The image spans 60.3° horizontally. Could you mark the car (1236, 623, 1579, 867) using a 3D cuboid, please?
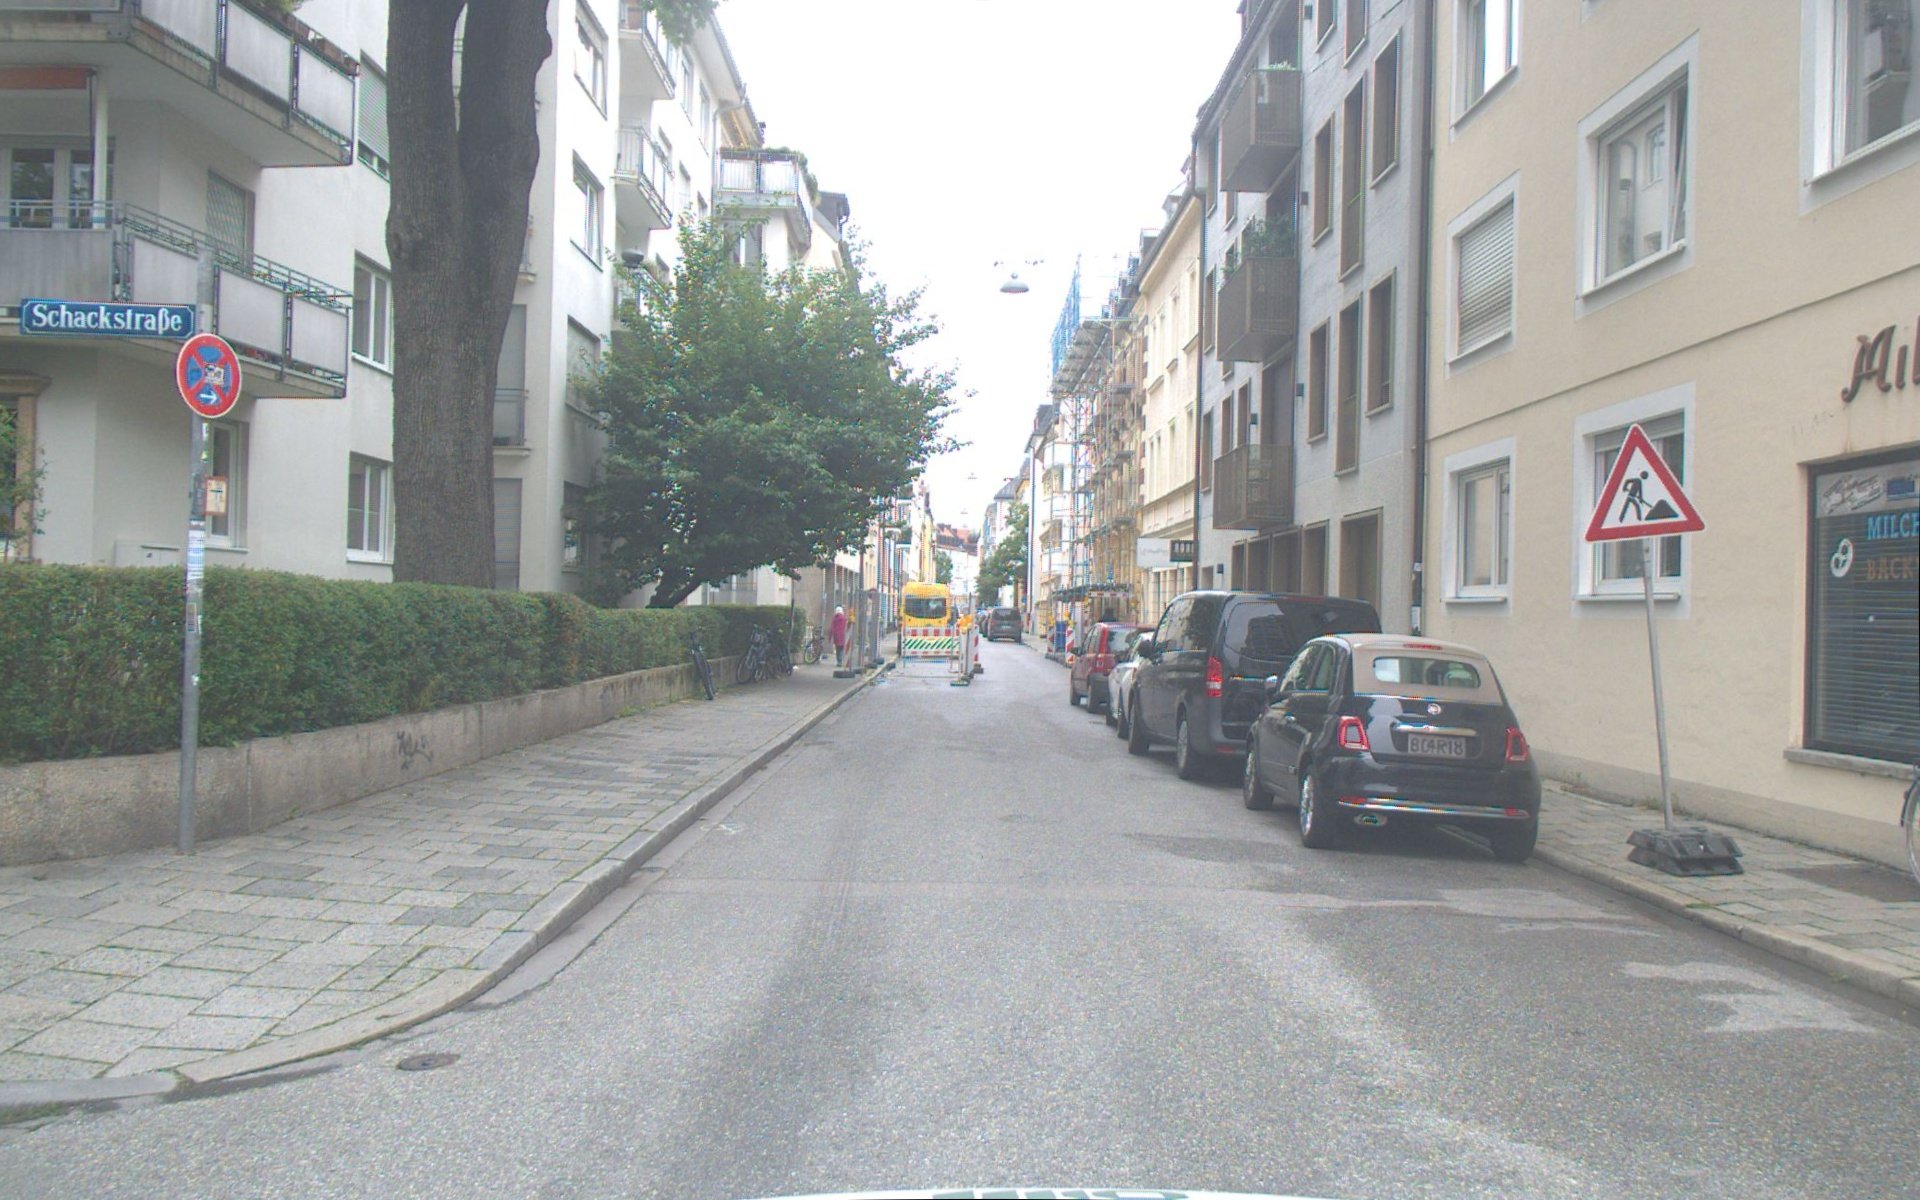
[{"bbox_3d":[3.245,0.980,12.668,1.601,1.497,3.537,3,-1,0],"label":"car"}]

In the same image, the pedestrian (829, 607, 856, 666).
[{"bbox_3d":[-3.157,0.974,44.441,0.625,1.559,0.747,1,-1,2],"label":"pedestrian"}]

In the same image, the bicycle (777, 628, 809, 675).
[{"bbox_3d":[-3.726,1.148,36.921,0.434,0.995,1.816,4,-1,1],"label":"bicycle"}]

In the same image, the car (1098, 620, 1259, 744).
[{"bbox_3d":[3.024,1.089,23.649,1.732,1.486,4.380,3,0,1],"label":"car"}]

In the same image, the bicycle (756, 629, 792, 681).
[{"bbox_3d":[-3.754,1.100,33.495,0.427,0.995,1.699,4,-1,1],"label":"bicycle"}]

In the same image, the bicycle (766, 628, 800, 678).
[{"bbox_3d":[-3.741,1.120,35.056,0.434,0.995,1.853,4,-1,1],"label":"bicycle"}]

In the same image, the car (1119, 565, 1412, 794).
[{"bbox_3d":[3.071,0.753,17.758,1.951,2.011,4.882,3,-1,-3],"label":"car"}]

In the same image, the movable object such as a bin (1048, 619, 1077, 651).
[{"bbox_3d":[4.521,1.547,73.028,1.063,1.370,1.318,-2,-1,12],"label":"movable object such as a bin"}]

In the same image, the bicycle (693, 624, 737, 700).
[{"bbox_3d":[-3.775,0.935,25.574,0.340,1.090,1.780,5,-1,0],"label":"bicycle"}]

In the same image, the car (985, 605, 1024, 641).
[{"bbox_3d":[2.527,1.293,95.363,1.953,1.965,4.658,3,0,-1],"label":"car"}]

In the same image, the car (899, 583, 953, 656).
[{"bbox_3d":[-1.286,0.724,63.346,1.953,2.624,6.735,1,0,-1],"label":"car"}]

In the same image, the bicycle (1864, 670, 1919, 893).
[{"bbox_3d":[5.562,1.008,8.855,0.401,1.235,1.818,-1,-2,0],"label":"bicycle"}]

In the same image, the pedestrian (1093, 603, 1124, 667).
[{"bbox_3d":[4.275,1.000,47.781,0.714,1.783,0.988,-2,-1,-1],"label":"pedestrian"}]

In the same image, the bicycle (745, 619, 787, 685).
[{"bbox_3d":[-3.621,0.969,31.032,0.478,1.171,1.699,4,-1,1],"label":"bicycle"}]

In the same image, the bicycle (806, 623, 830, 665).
[{"bbox_3d":[-3.848,1.189,44.861,0.369,1.081,1.597,7,0,0],"label":"bicycle"}]

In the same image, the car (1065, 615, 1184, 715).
[{"bbox_3d":[2.845,1.095,29.267,1.735,1.550,4.067,3,-1,2],"label":"car"}]
